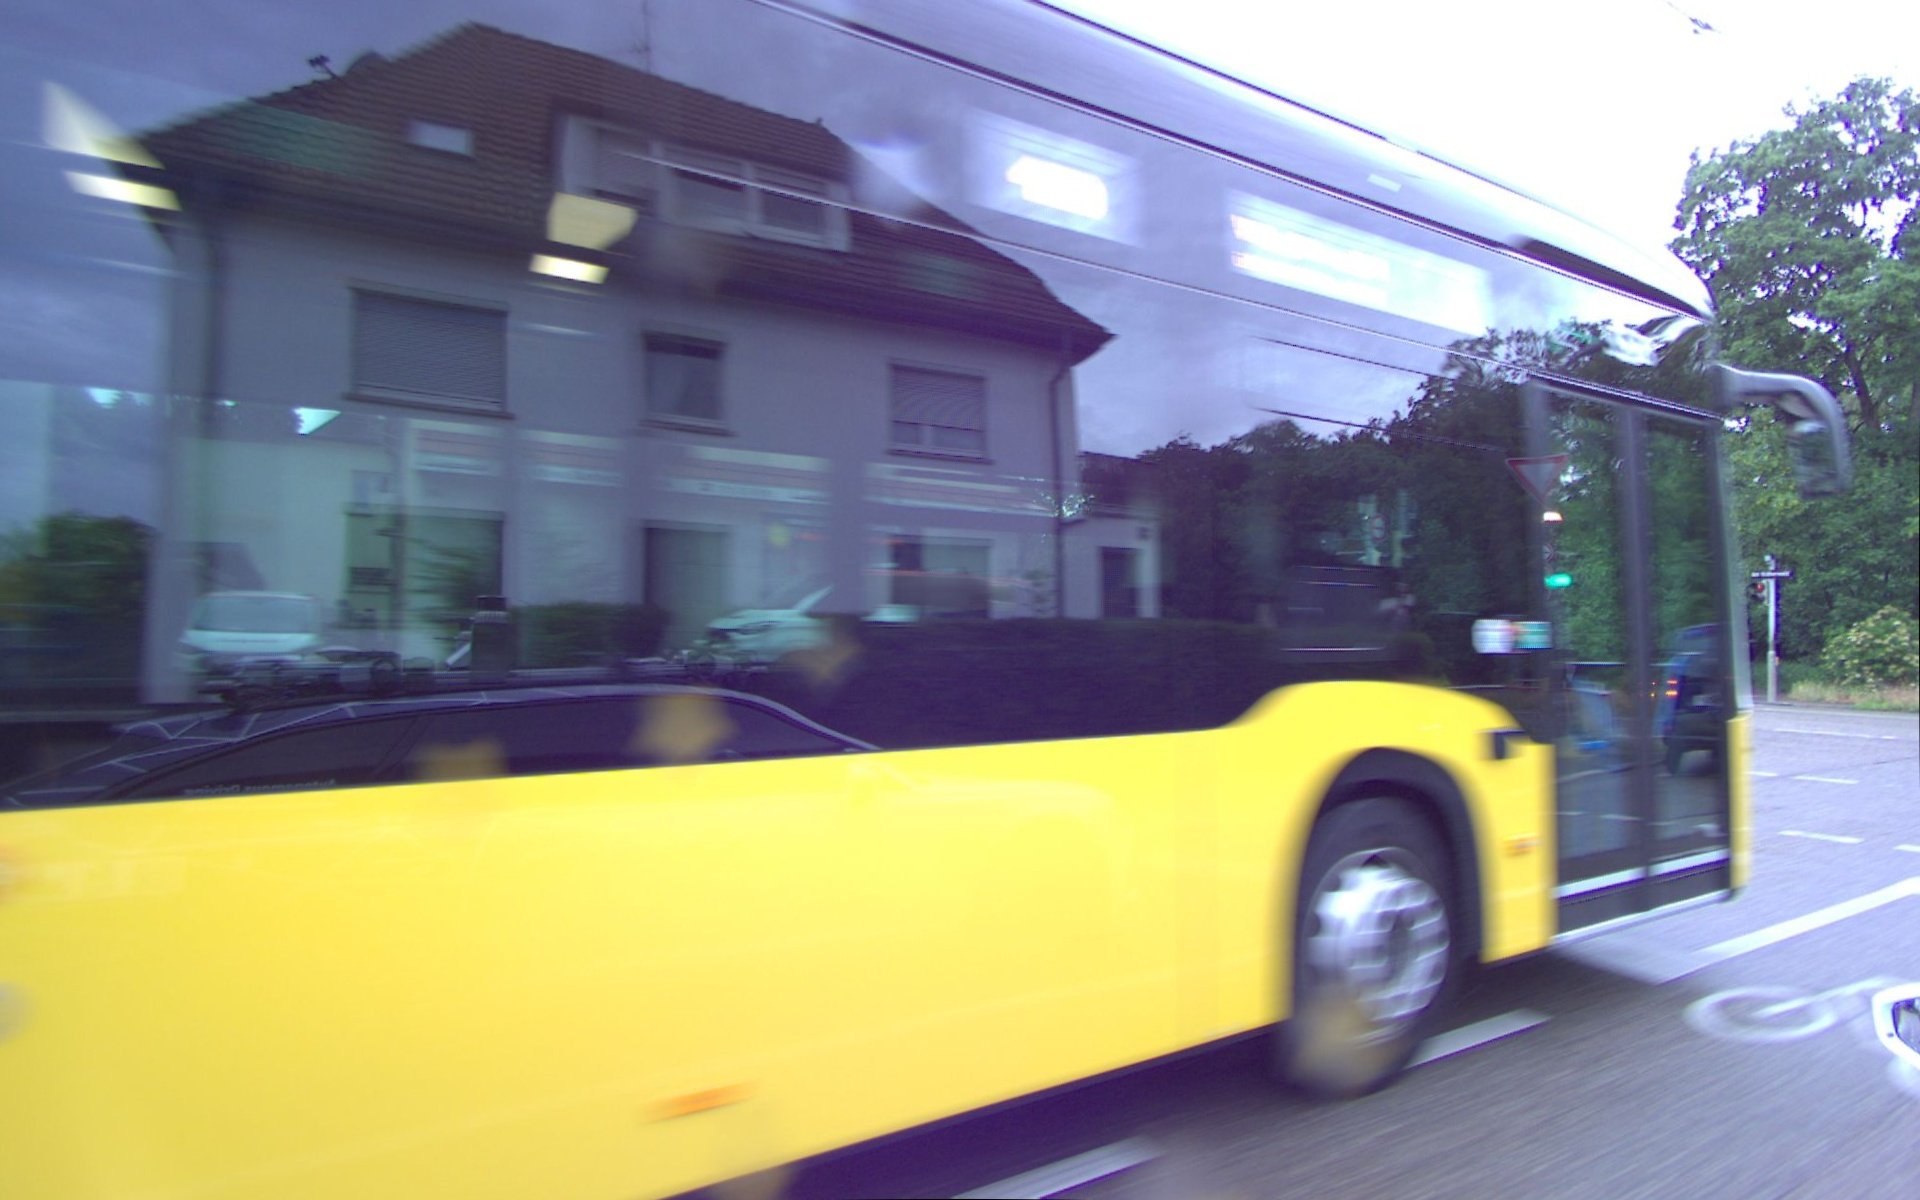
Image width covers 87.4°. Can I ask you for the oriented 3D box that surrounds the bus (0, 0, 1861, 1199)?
[{"bbox_3d":[-0.735,-0.151,3.312,8.934,3.443,2.886,1,-2,-30],"label":"bus"}]
